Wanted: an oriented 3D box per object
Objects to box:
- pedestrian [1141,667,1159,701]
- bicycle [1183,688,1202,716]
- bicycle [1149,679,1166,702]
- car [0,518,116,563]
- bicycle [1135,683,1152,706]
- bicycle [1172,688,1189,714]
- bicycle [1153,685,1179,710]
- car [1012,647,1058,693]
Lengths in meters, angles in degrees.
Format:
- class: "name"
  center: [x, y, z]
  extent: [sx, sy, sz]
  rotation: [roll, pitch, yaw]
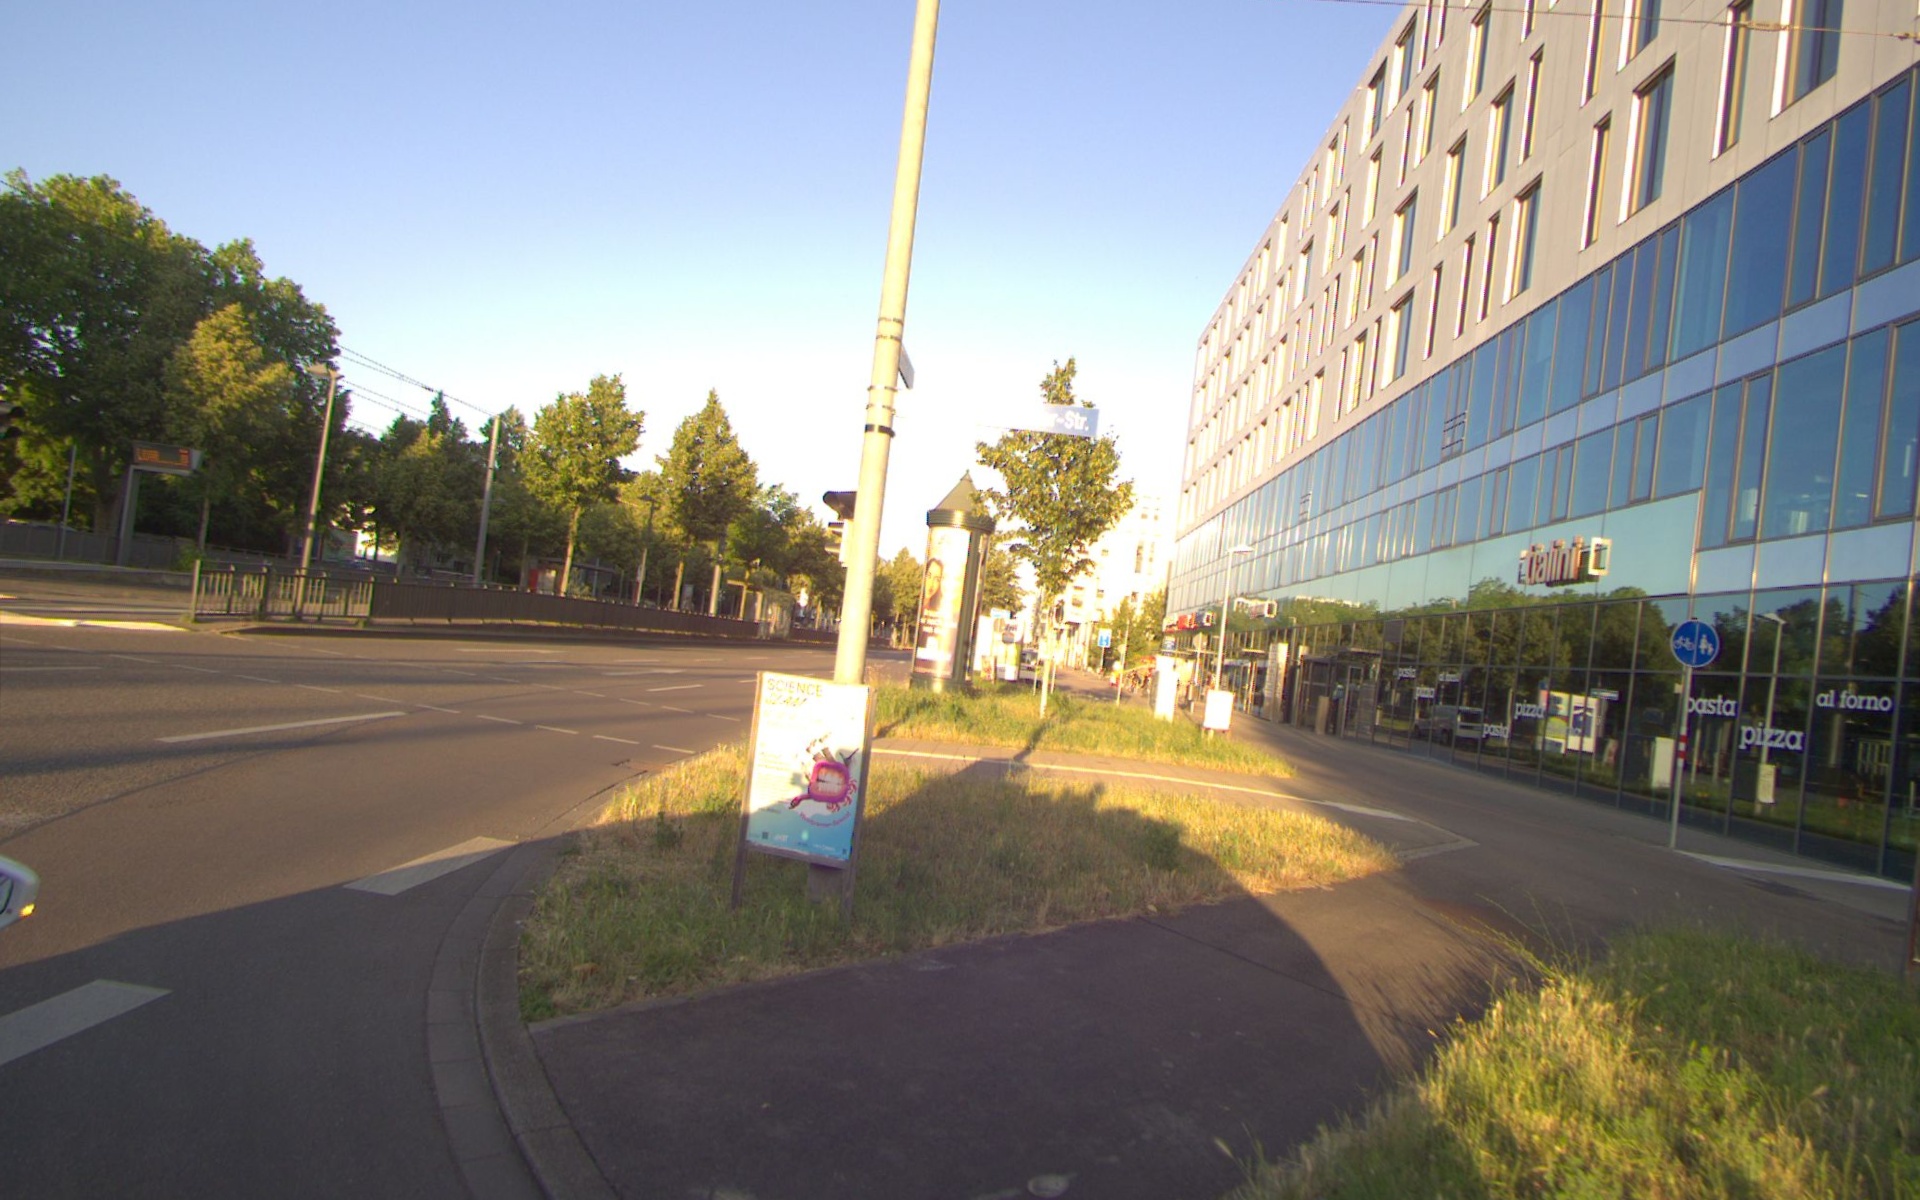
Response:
- class: "pedestrian"
  center: [12.121, 5.356, 64.274]
  extent: [0.799, 2.113, 1.114]
  rotation: [6, -2, 5]
- class: "bicycle"
  center: [9.930, 4.345, 42.955]
  extent: [0.533, 1.080, 2.008]
  rotation: [7, -3, 10]
- class: "bicycle"
  center: [10.244, 4.687, 52.171]
  extent: [0.624, 1.080, 2.125]
  rotation: [7, -3, 8]
- class: "car"
  center: [-44.743, -2.922, 49.793]
  extent: [1.962, 1.481, 4.251]
  rotation: [7, -3, 7]
- class: "bicycle"
  center: [10.007, 5.143, 54.810]
  extent: [0.624, 1.080, 2.125]
  rotation: [7, -3, 6]
- class: "bicycle"
  center: [10.077, 4.614, 46.049]
  extent: [0.624, 1.080, 2.126]
  rotation: [7, -3, 12]
- class: "bicycle"
  center: [10.038, 4.738, 49.078]
  extent: [0.625, 1.079, 2.124]
  rotation: [7, -3, -2]
- class: "car"
  center: [3.567, 3.330, 48.286]
  extent: [1.822, 1.847, 4.401]
  rotation: [9, -3, 4]
